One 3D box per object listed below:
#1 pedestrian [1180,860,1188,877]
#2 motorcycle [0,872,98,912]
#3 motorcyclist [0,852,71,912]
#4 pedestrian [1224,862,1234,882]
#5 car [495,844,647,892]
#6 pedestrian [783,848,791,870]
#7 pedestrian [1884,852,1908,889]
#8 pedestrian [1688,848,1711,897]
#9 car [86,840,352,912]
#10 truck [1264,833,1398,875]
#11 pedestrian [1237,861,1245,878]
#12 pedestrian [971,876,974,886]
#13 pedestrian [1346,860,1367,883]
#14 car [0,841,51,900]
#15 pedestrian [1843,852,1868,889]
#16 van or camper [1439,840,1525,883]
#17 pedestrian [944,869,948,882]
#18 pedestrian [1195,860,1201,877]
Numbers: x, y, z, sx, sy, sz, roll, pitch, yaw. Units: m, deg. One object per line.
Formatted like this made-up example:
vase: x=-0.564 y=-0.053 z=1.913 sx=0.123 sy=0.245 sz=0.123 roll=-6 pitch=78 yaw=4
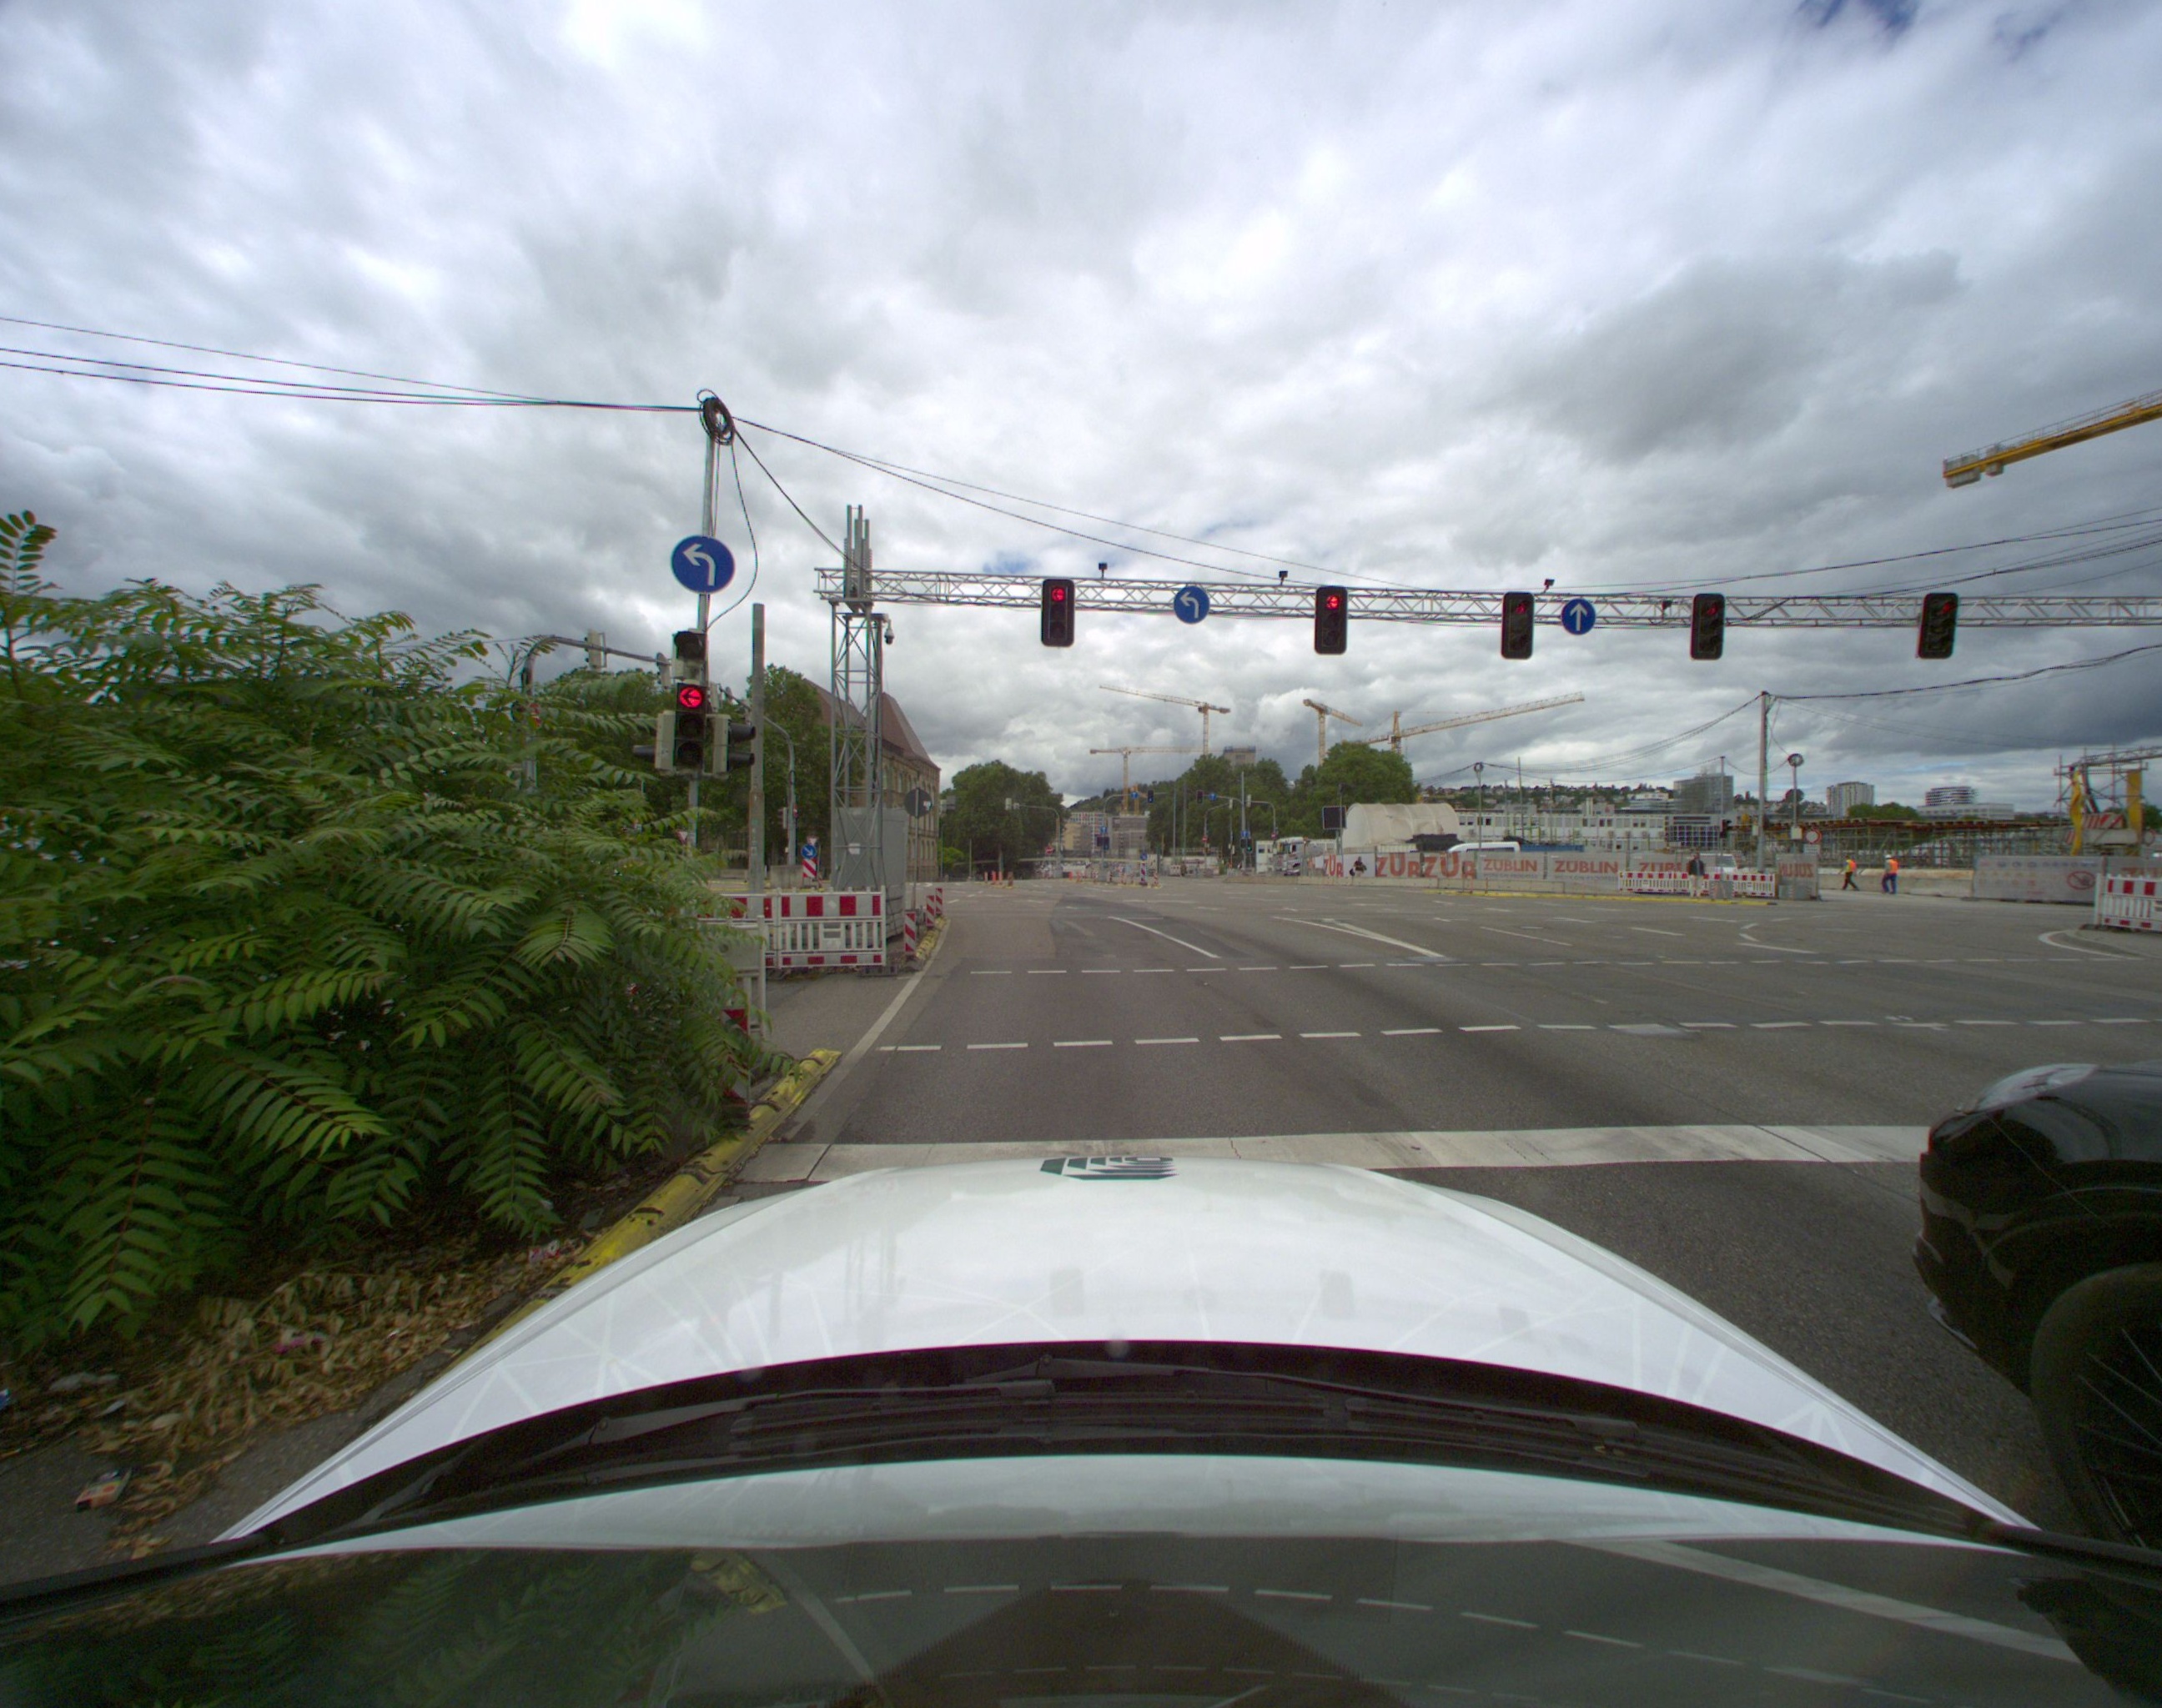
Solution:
pedestrian: x=10.248 y=1.445 z=81.410 sx=0.726 sy=1.689 sz=0.678 roll=0 pitch=0 yaw=1
motorcycle: x=-25.471 y=0.919 z=19.807 sx=2.051 sy=0.924 sz=0.756 roll=0 pitch=0 yaw=-4
motorcyclist: x=-25.539 y=0.674 z=19.798 sx=0.963 sy=1.423 sz=0.745 roll=0 pitch=0 yaw=-4
pedestrian: x=12.250 y=1.489 z=67.430 sx=0.726 sy=1.689 sz=0.678 roll=0 pitch=0 yaw=1
car: x=-18.819 y=0.501 z=30.245 sx=4.315 sy=1.676 sz=1.992 roll=0 pitch=0 yaw=-12
pedestrian: x=-26.738 y=0.426 z=74.123 sx=0.530 sy=2.014 sz=0.423 roll=1 pitch=-1 yaw=-42
pedestrian: x=37.944 y=0.771 z=37.903 sx=0.651 sy=1.717 sz=0.516 roll=0 pitch=0 yaw=-9
pedestrian: x=25.670 y=0.747 z=33.811 sx=0.645 sy=2.013 sz=0.520 roll=0 pitch=0 yaw=27
car: x=-21.260 y=0.525 z=20.251 sx=4.302 sy=1.676 sz=1.998 roll=0 pitch=0 yaw=-3
truck: x=25.033 y=-0.025 z=81.589 sx=13.062 sy=4.041 sz=3.926 roll=0 pitch=0 yaw=-18
pedestrian: x=16.248 y=1.589 z=82.695 sx=0.615 sy=1.689 sz=0.716 roll=0 pitch=0 yaw=31
pedestrian: x=-20.933 y=5.192 z=157.389 sx=0.522 sy=2.014 sz=0.567 roll=0 pitch=0 yaw=2
pedestrian: x=16.456 y=1.022 z=48.648 sx=0.798 sy=1.378 sz=0.900 roll=0 pitch=0 yaw=-16
car: x=-32.974 y=0.458 z=23.281 sx=4.302 sy=1.676 sz=1.998 roll=0 pitch=0 yaw=-3
pedestrian: x=38.536 y=0.806 z=40.534 sx=0.651 sy=1.795 sz=0.617 roll=0 pitch=0 yaw=-7
van or camper: x=23.150 y=0.421 z=47.202 sx=4.181 sy=2.357 sz=2.009 roll=0 pitch=0 yaw=16
pedestrian: x=-21.491 y=3.465 z=129.772 sx=0.522 sy=2.014 sz=0.567 roll=0 pitch=0 yaw=2
pedestrian: x=11.770 y=1.418 z=82.105 sx=0.564 sy=1.689 sz=0.472 roll=0 pitch=0 yaw=1
